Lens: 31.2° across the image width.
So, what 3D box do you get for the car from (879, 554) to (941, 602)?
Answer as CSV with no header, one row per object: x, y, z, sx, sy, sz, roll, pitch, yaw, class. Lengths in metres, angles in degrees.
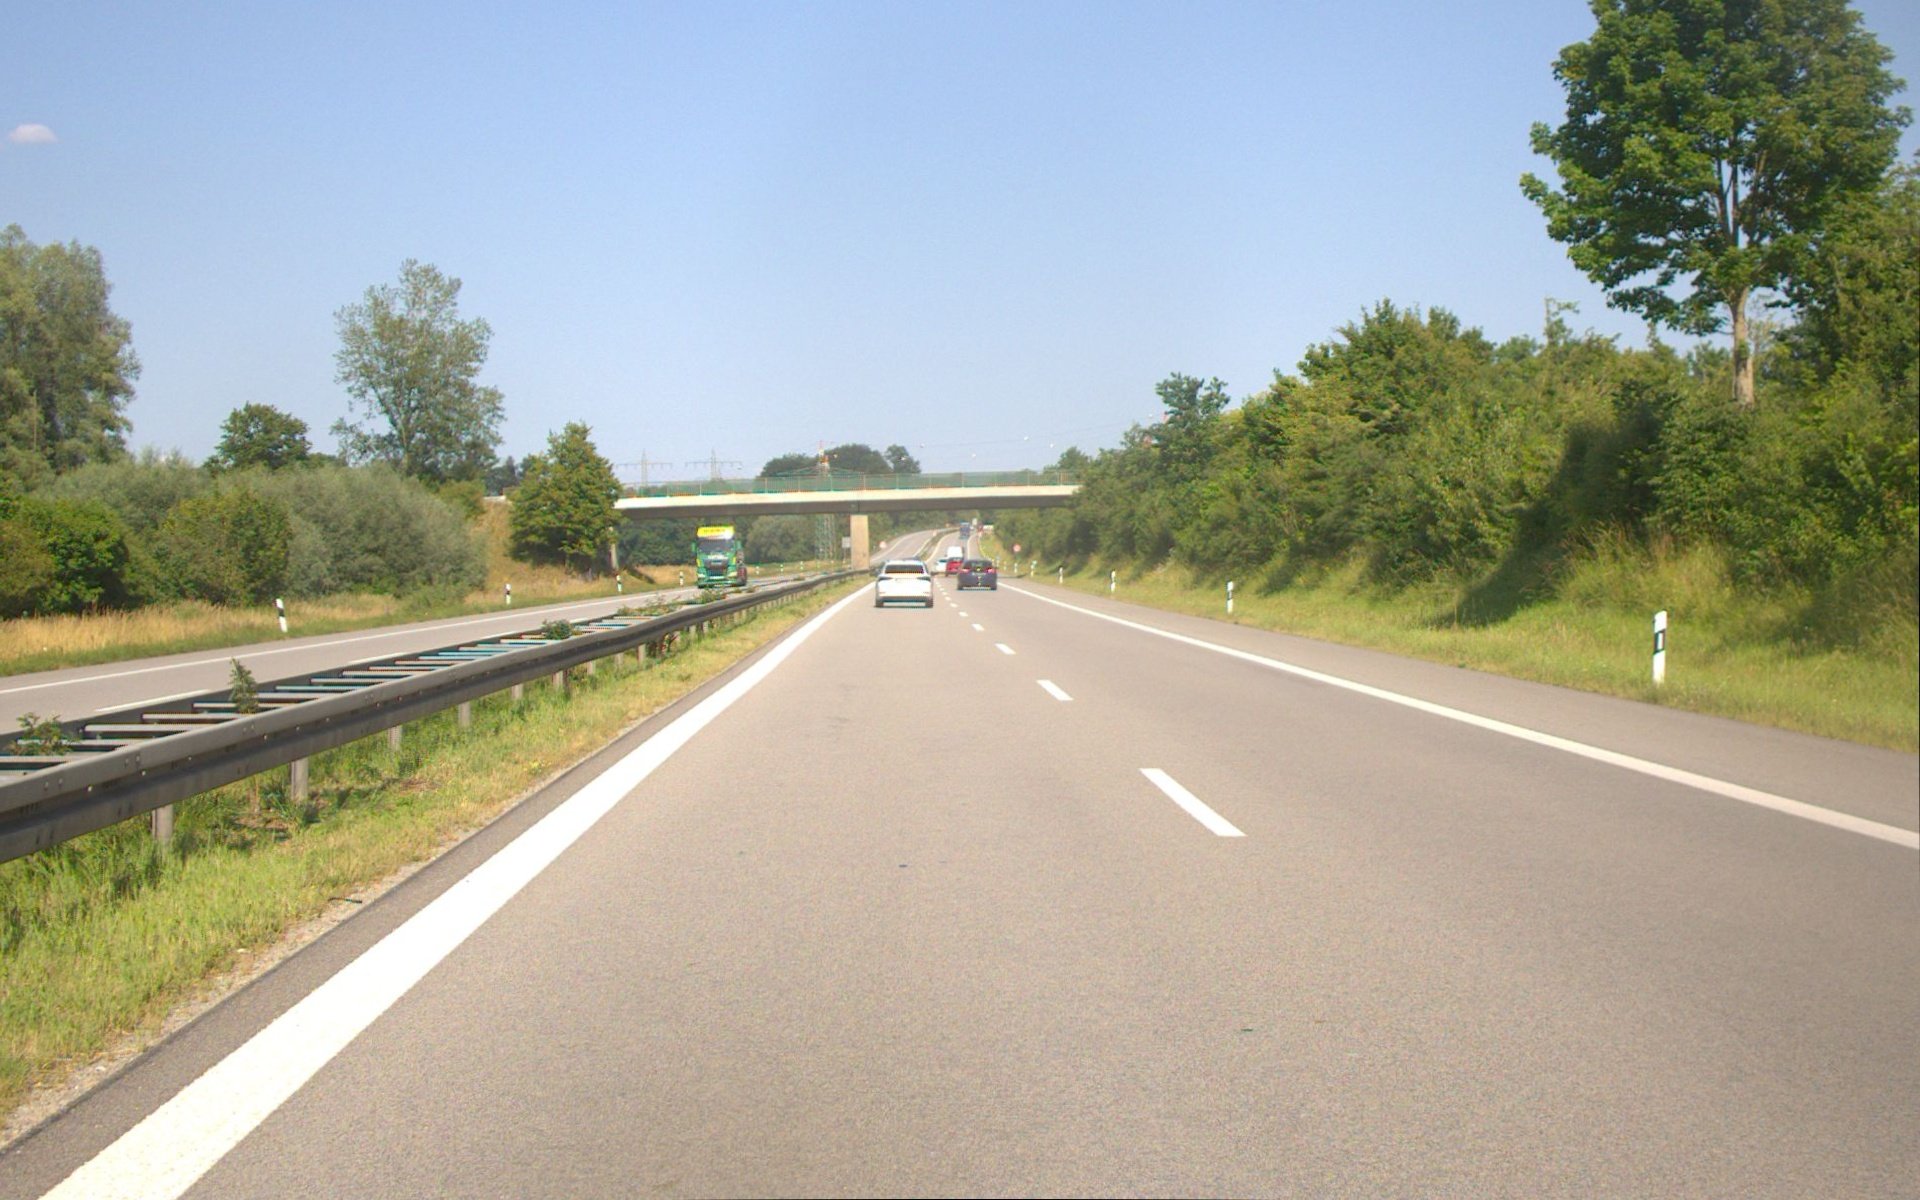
-1.529,-0.693,105.831,1.843,1.411,4.000,1,1,-1,car

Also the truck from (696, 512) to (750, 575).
-14.544,-3.432,210.936,2.955,3.718,5.569,-2,1,-1,truck

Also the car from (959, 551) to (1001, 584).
0.933,-1.543,162.851,1.843,1.515,4.000,1,1,-1,car
